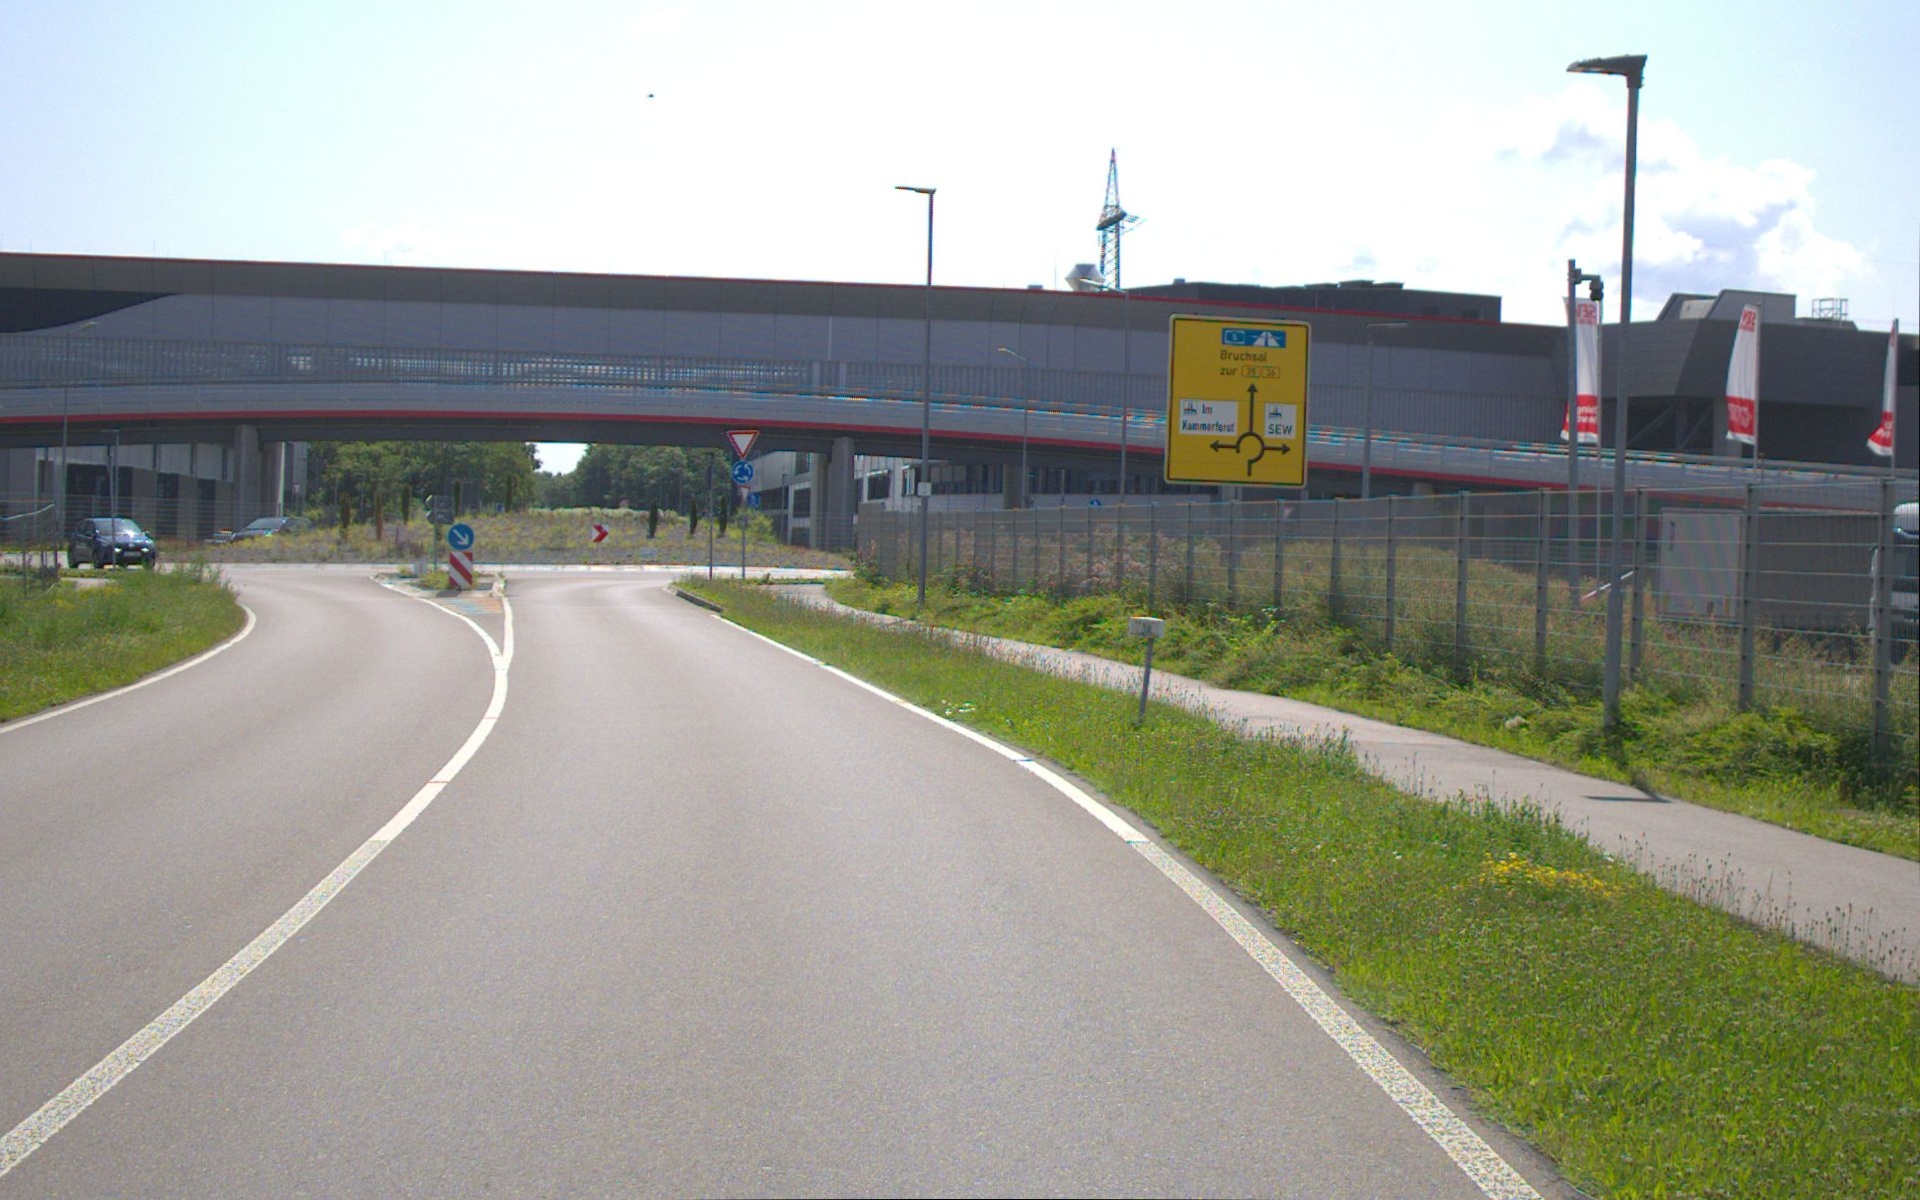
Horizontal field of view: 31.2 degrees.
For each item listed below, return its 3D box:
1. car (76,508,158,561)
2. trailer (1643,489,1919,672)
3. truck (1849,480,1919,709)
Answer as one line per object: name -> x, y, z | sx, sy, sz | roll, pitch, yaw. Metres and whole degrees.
car -> -24.289, -1.888, 98.982 | 1.702, 1.476, 4.001 | 0, 1, -22
trailer -> 23.179, -0.517, 88.711 | 14.022, 4.423, 2.765 | 0, 1, -40
truck -> 21.626, -0.123, 66.114 | 10.941, 4.158, 2.822 | 0, 1, -39
